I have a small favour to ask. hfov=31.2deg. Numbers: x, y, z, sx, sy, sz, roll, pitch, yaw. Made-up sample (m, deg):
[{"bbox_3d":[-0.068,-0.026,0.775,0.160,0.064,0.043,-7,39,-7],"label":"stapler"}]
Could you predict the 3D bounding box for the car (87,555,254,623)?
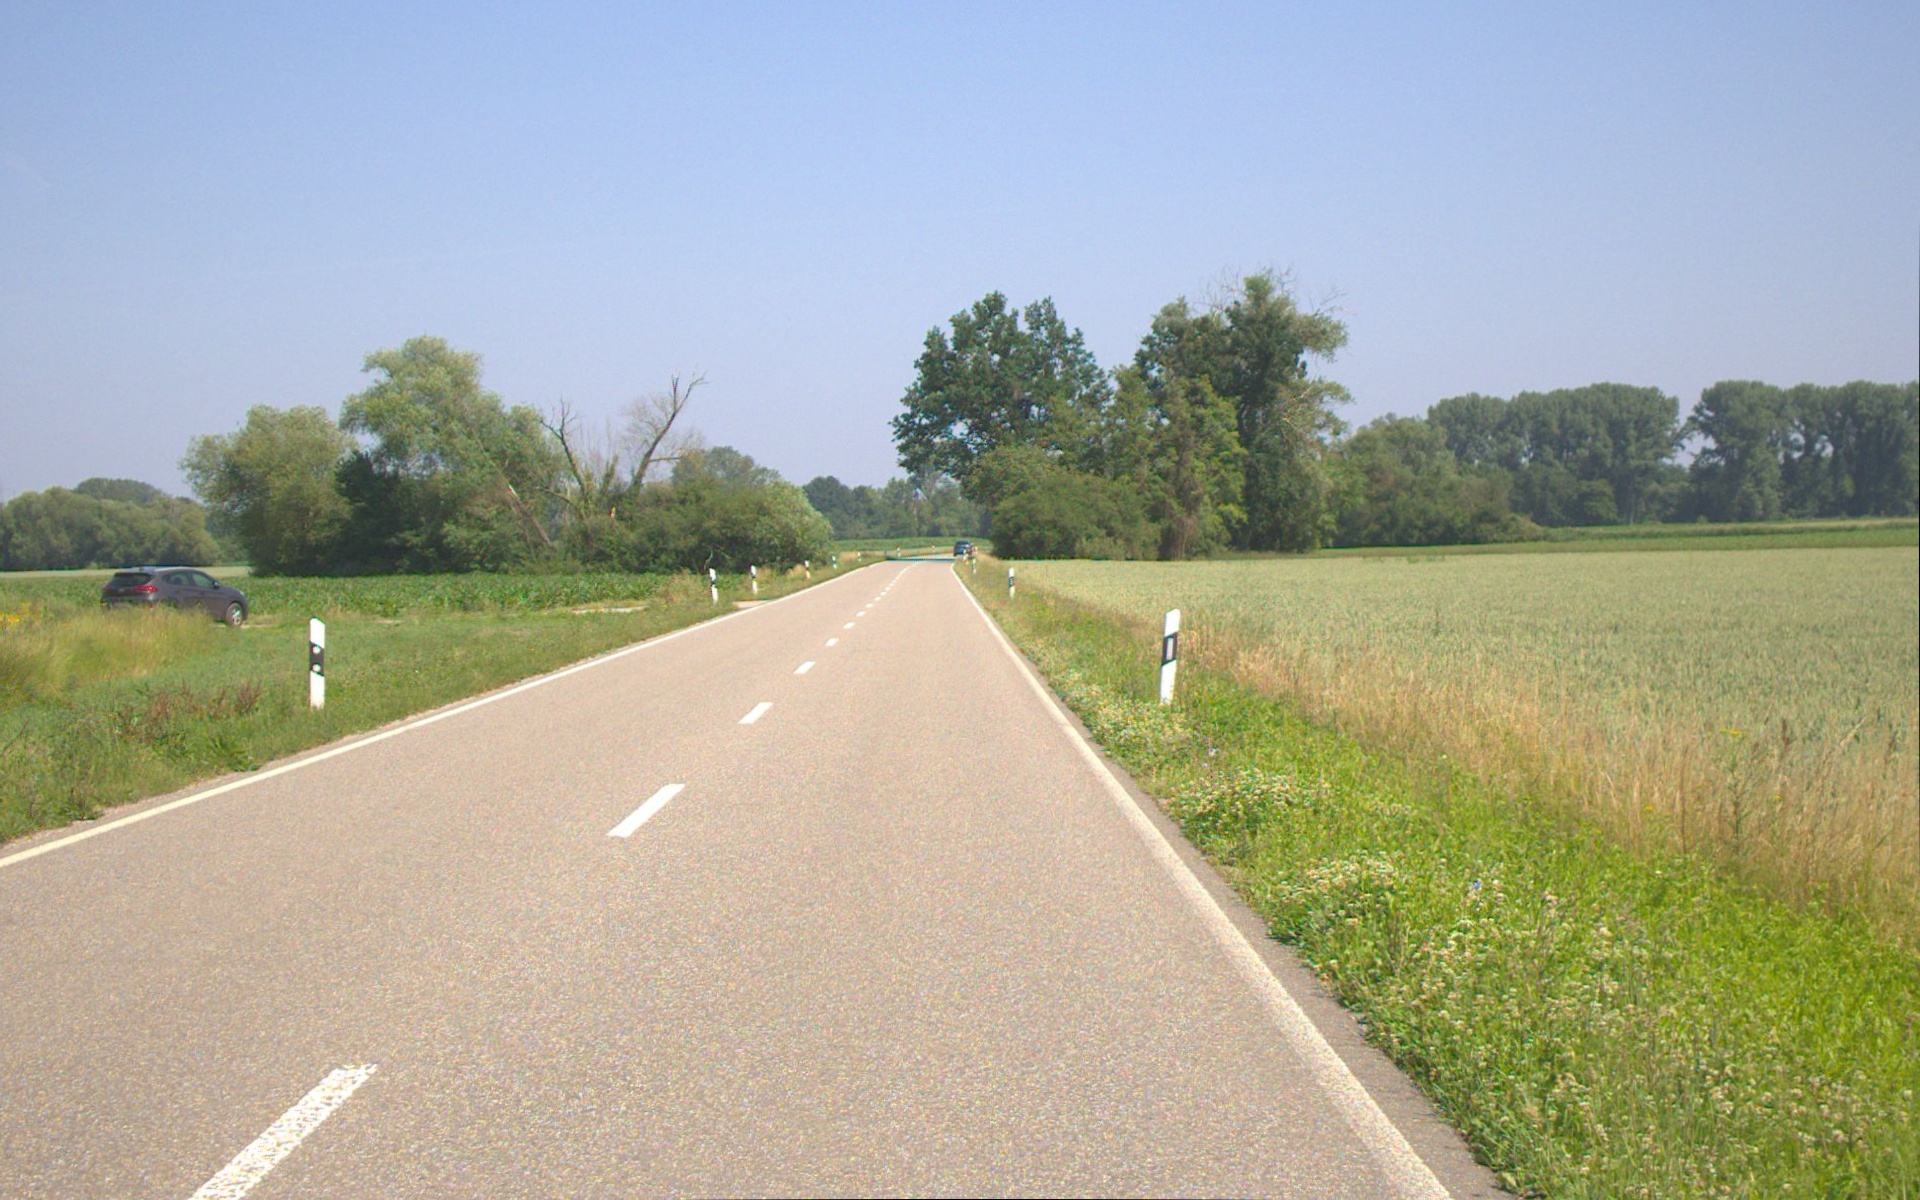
[{"bbox_3d":[-20.421,-0.300,89.071,1.755,1.645,4.523,-1,1,25],"label":"car"}]
